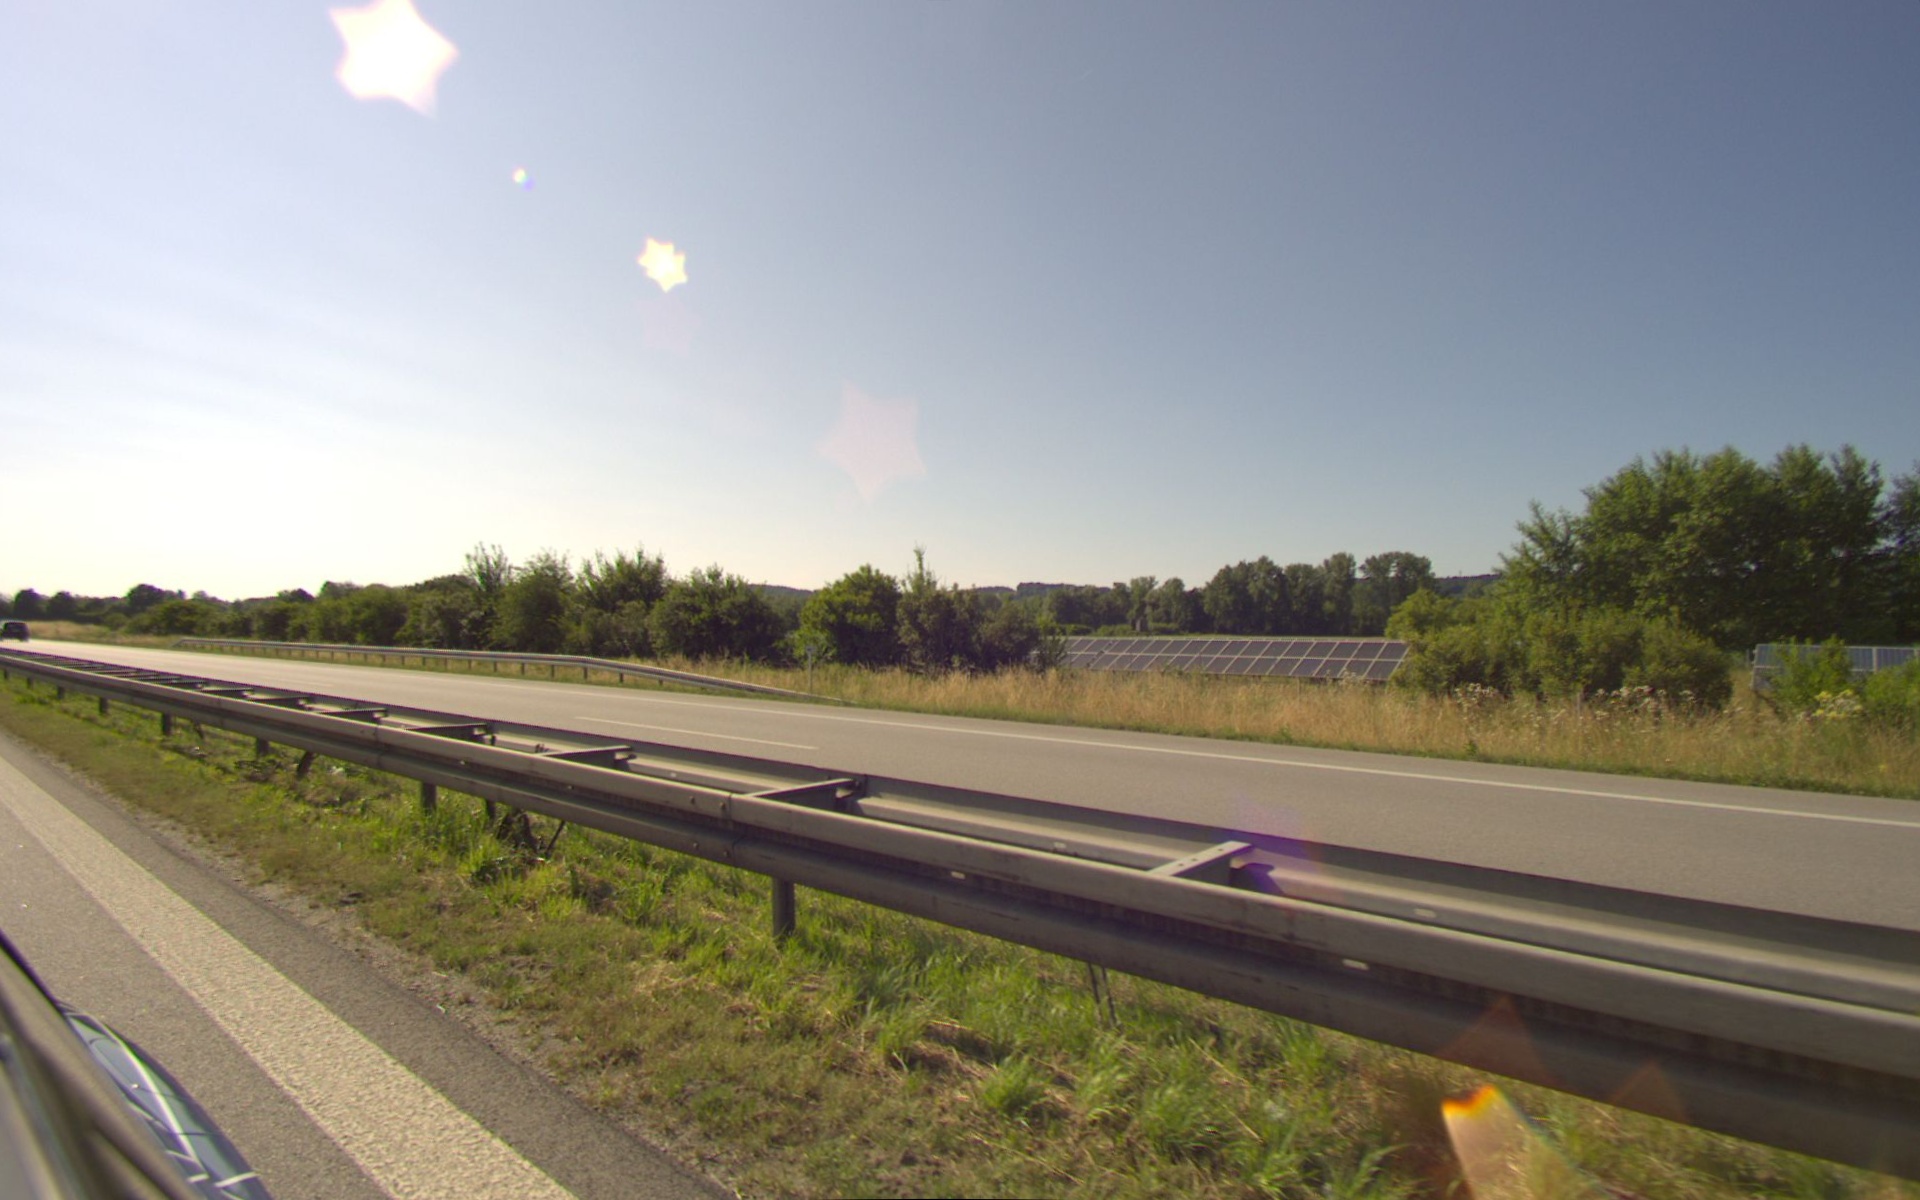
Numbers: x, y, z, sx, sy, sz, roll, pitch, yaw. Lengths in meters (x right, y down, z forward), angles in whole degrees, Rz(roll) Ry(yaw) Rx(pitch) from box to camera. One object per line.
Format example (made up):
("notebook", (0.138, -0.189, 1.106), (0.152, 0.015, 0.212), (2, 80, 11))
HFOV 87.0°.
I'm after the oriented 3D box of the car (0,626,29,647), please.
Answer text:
("car", (-74.913, 2.850, 79.664), (4.654, 1.583, 1.811), (-1, -3, 41))
